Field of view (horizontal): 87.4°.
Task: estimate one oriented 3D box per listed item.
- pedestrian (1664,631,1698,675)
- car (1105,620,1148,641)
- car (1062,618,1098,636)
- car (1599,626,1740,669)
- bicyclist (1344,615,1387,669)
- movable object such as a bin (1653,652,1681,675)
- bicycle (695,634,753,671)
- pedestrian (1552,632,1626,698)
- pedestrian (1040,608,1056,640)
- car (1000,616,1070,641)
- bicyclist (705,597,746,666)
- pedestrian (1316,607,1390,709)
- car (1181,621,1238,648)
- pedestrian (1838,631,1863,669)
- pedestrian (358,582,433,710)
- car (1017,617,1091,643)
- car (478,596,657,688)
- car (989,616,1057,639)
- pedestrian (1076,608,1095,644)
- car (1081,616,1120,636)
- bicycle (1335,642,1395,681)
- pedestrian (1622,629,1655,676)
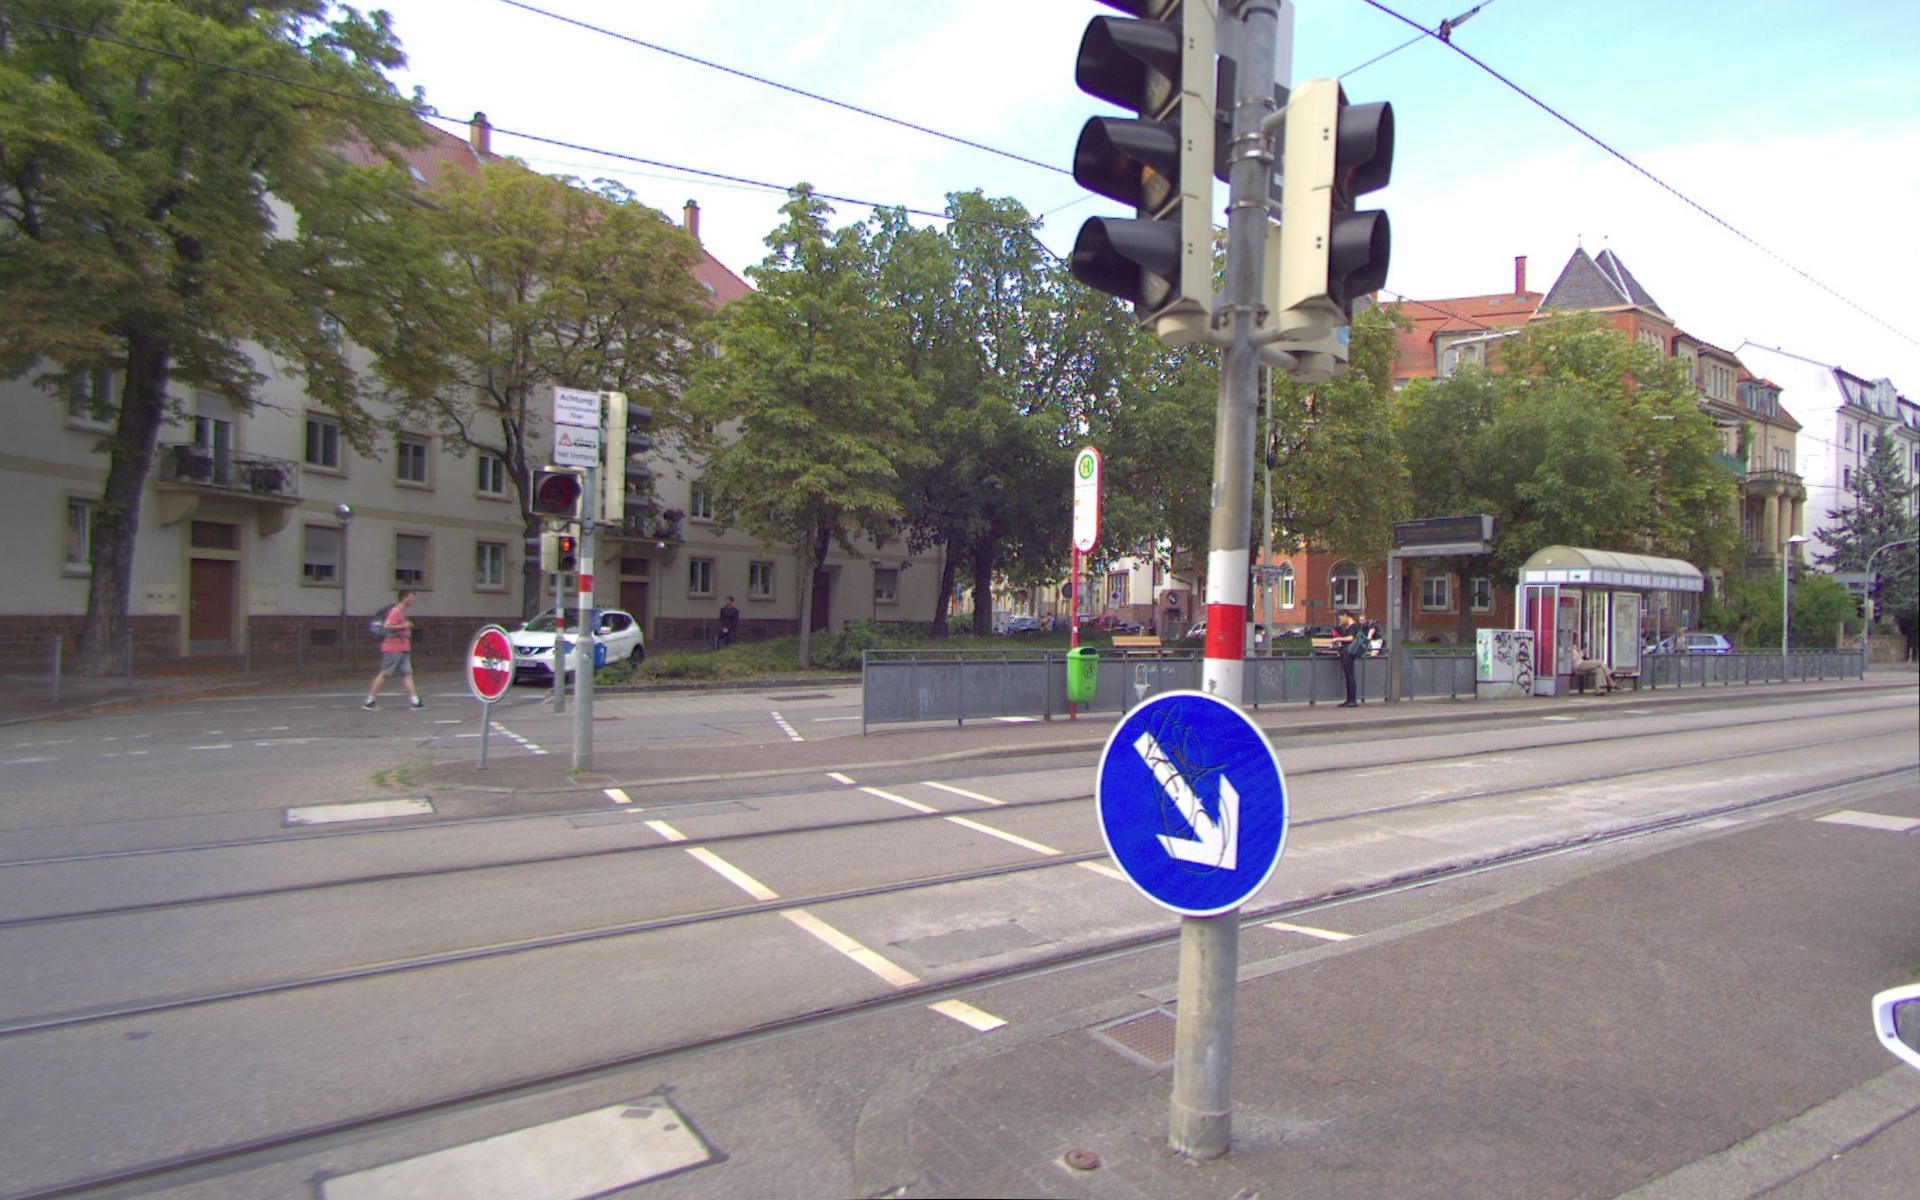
[{"bbox_3d":[27.396,2.003,38.159,0.738,1.654,0.862,1,-1,-38],"label":"pedestrian"},{"bbox_3d":[11.899,2.190,71.874,1.783,1.414,3.993,1,-1,-10],"label":"car"},{"bbox_3d":[9.800,2.208,82.214,1.783,1.414,3.993,1,-1,-10],"label":"car"},{"bbox_3d":[29.548,1.959,41.969,4.259,1.599,2.214,1,-1,10],"label":"car"},{"bbox_3d":[10.409,1.072,25.801,0.827,1.357,0.657,2,-1,-33],"label":"bicyclist"},{"bbox_3d":[26.911,2.416,38.222,0.616,0.810,0.722,1,-1,-38],"label":"movable object such as a bin"},{"bbox_3d":[-6.238,1.374,26.650,0.597,0.949,1.574,0,-1,29],"label":"bicycle"},{"bbox_3d":[13.232,1.348,21.128,0.977,1.311,1.050,2,-1,-38],"label":"pedestrian"},{"bbox_3d":[4.857,1.316,55.296,0.671,1.777,0.731,1,-1,-12],"label":"pedestrian"},{"bbox_3d":[4.534,1.725,61.125,3.929,1.414,1.812,1,-1,-11],"label":"car"},{"bbox_3d":[-6.225,0.829,26.668,0.601,1.799,0.909,0,-1,29],"label":"bicyclist"},{"bbox_3d":[6.596,0.951,16.873,0.836,1.642,0.845,2,-1,-38],"label":"pedestrian"},{"bbox_3d":[14.583,2.007,58.943,1.783,1.497,3.993,1,-1,-10],"label":"car"},{"bbox_3d":[42.952,2.422,48.449,0.826,1.807,0.726,1,-1,-33],"label":"pedestrian"},{"bbox_3d":[-8.712,0.703,15.530,0.821,1.926,0.730,1,-1,-15],"label":"pedestrian"},{"bbox_3d":[5.492,1.734,58.926,3.929,1.414,1.812,1,-1,-11],"label":"car"},{"bbox_3d":[-8.418,0.941,21.991,1.804,1.743,4.163,2,-3,7],"label":"car"},{"bbox_3d":[3.982,1.731,63.618,3.929,1.414,1.812,1,-1,-11],"label":"car"},{"bbox_3d":[6.229,1.296,49.917,0.720,1.777,0.751,1,-1,-15],"label":"pedestrian"},{"bbox_3d":[10.784,1.993,77.293,1.783,1.414,3.993,1,-1,-10],"label":"car"},{"bbox_3d":[10.405,1.576,25.795,1.534,0.961,0.657,2,-1,-33],"label":"bicycle"},{"bbox_3d":[25.293,1.954,37.429,0.726,1.725,0.826,1,-1,-38],"label":"pedestrian"}]
